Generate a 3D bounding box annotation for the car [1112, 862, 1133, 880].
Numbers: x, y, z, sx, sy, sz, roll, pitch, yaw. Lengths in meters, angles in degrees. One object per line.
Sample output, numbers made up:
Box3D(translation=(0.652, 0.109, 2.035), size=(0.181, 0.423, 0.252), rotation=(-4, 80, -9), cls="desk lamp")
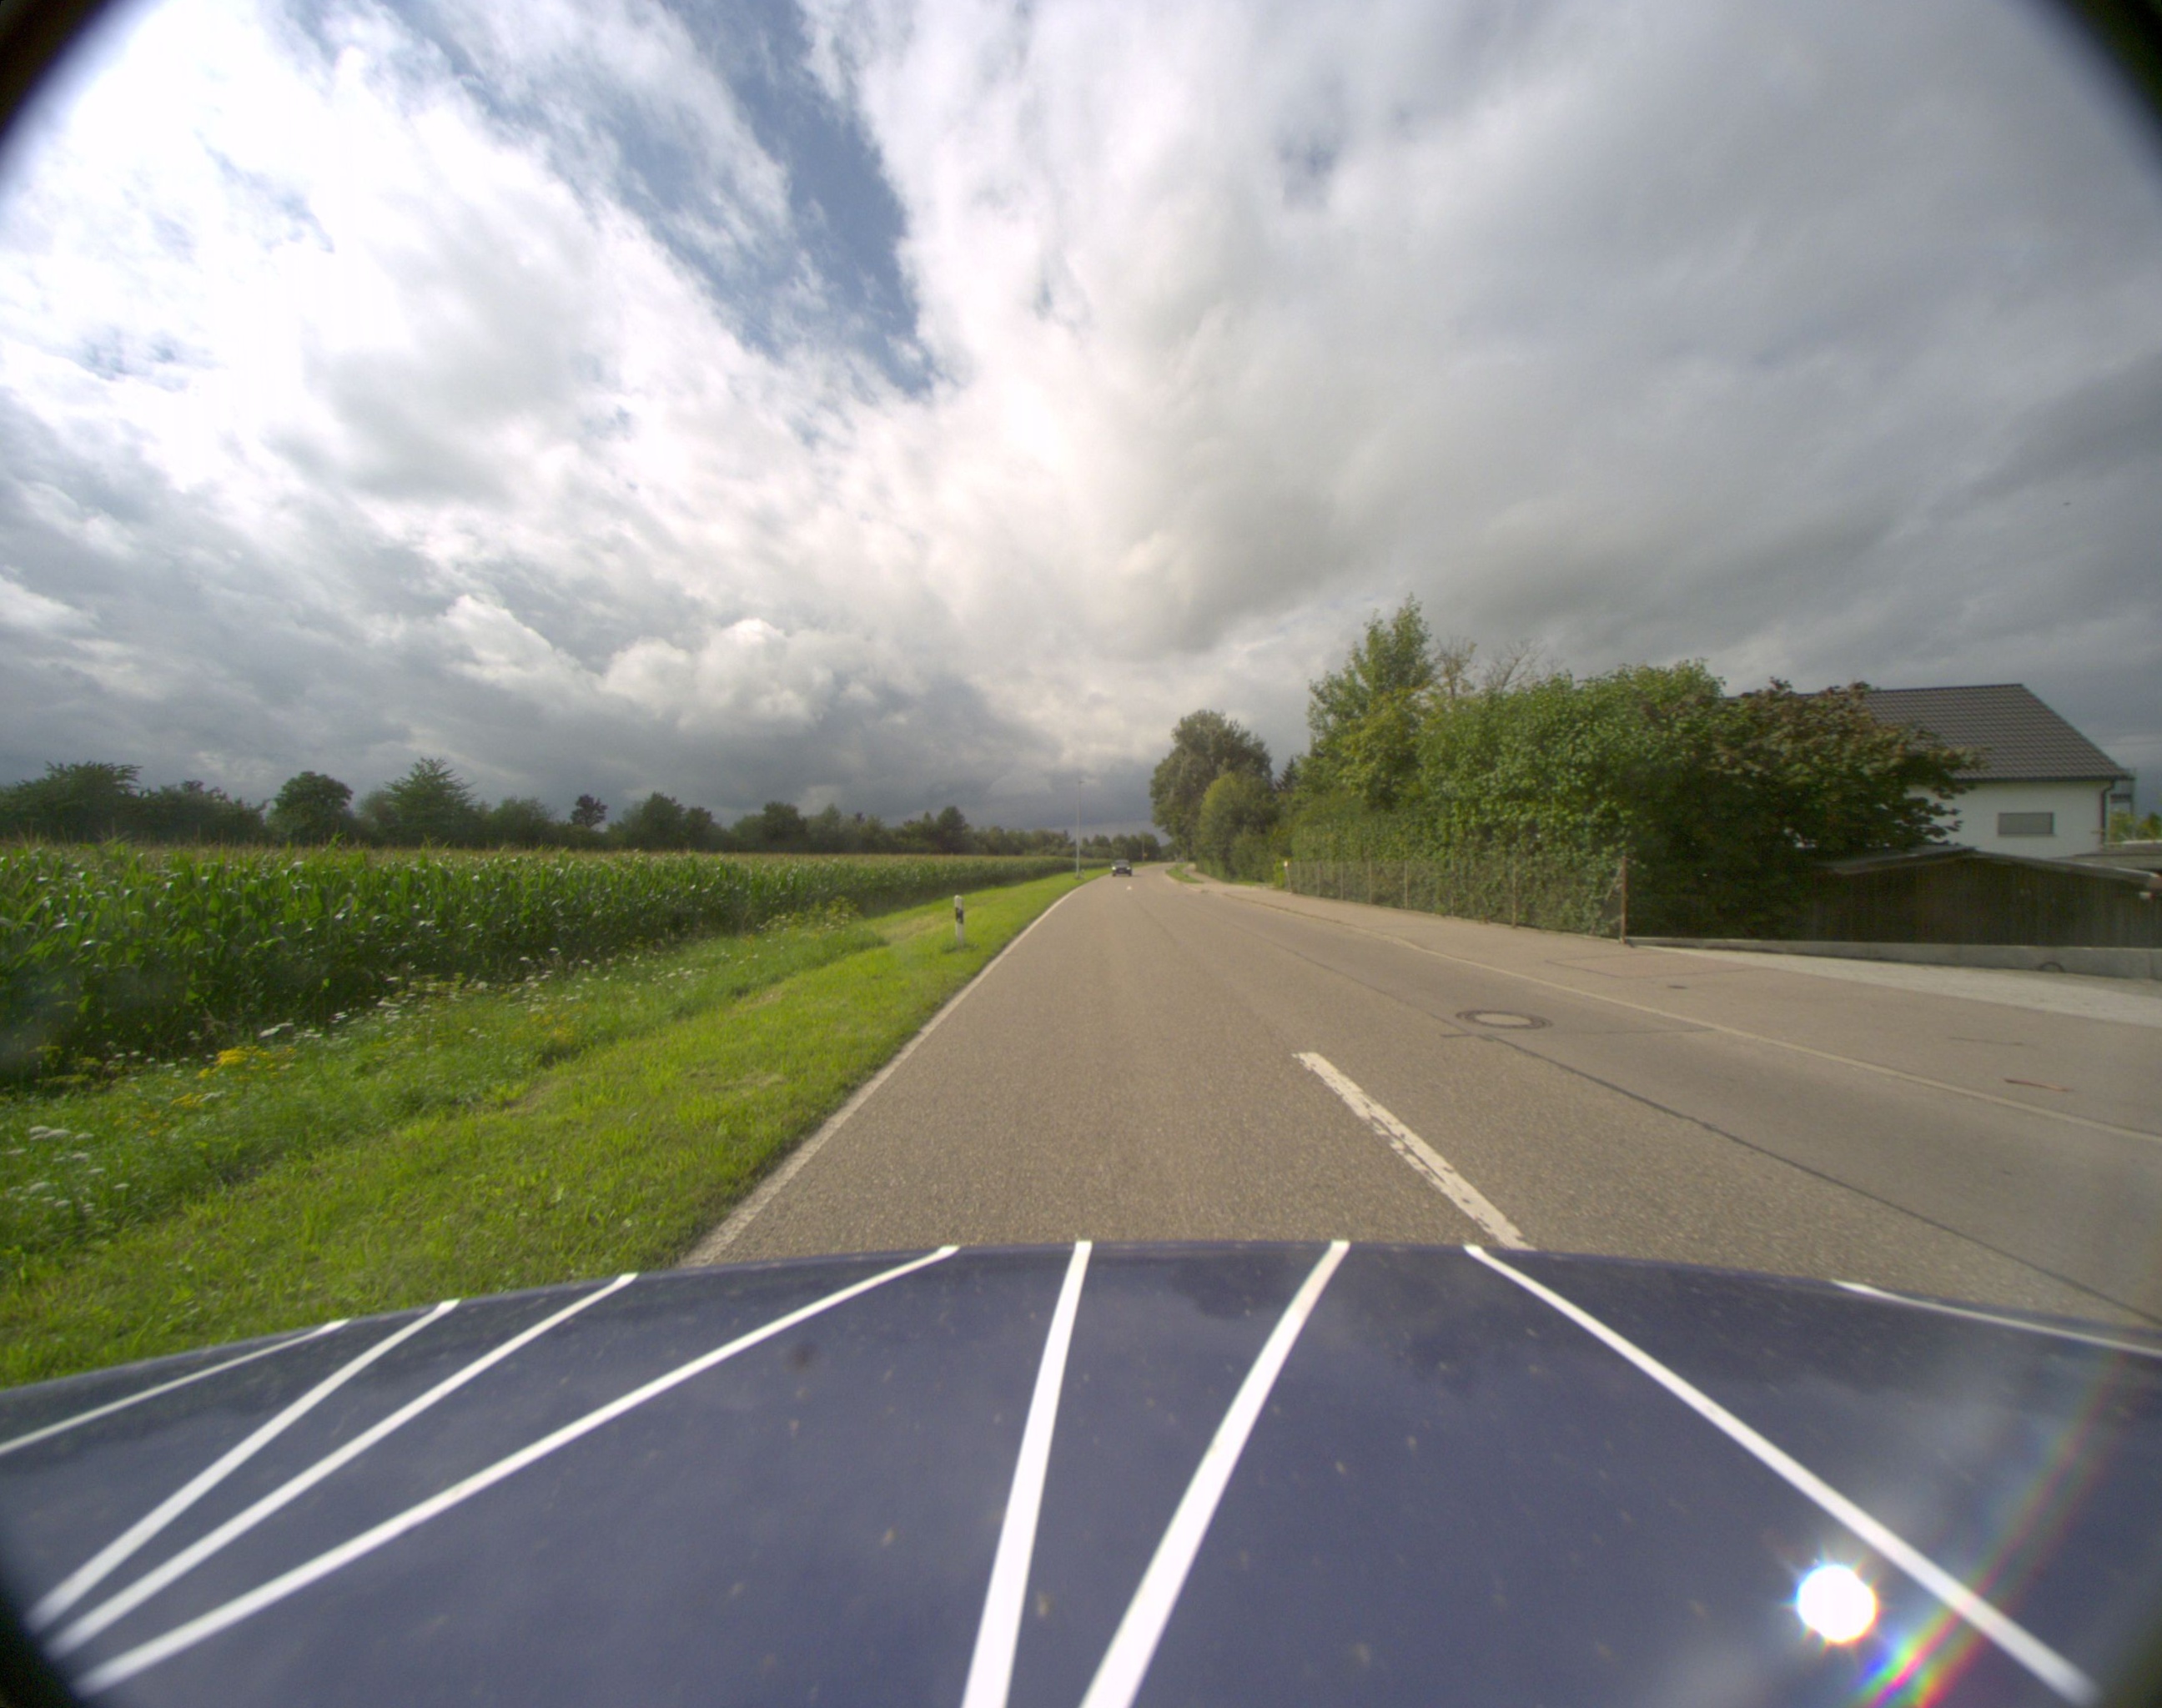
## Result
Box3D(translation=(4.139, 1.663, 75.164), size=(1.998, 1.594, 4.002), rotation=(-1, 0, 5), cls="car")
